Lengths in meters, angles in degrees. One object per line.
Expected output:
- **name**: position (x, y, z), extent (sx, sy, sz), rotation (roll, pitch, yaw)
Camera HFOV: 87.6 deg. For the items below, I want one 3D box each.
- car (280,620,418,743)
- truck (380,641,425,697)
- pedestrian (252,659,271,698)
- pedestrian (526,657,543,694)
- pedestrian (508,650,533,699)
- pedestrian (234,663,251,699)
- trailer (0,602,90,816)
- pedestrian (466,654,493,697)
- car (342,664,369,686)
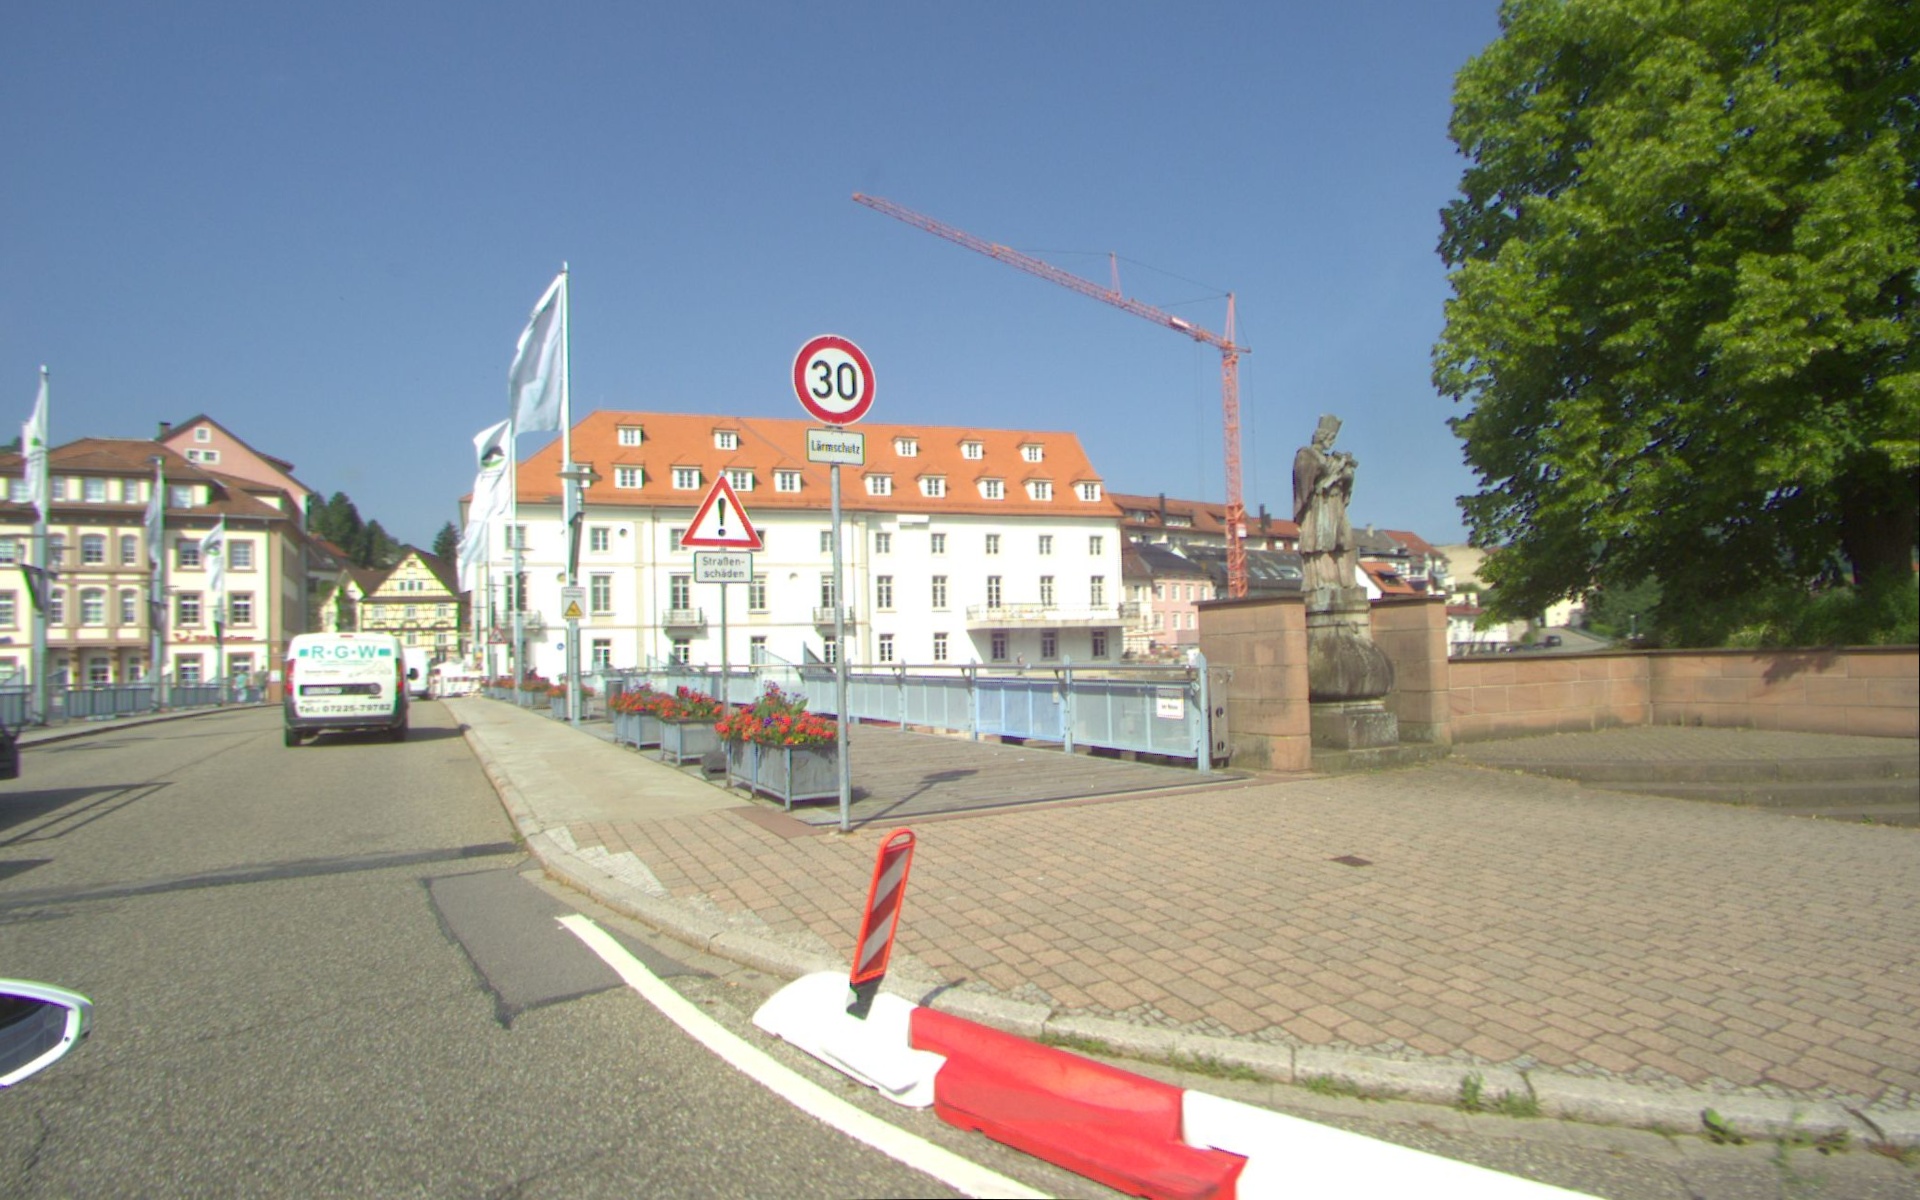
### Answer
- **car**: position (-10.920, 1.458, 18.166), extent (1.823, 1.929, 4.299), rotation (1, -4, -28)
- **truck**: position (-27.595, 3.424, 49.659), extent (1.840, 2.616, 4.243), rotation (1, -4, -29)
- **pedestrian**: position (-32.719, 3.673, 46.915), extent (0.608, 1.784, 0.860), rotation (1, -3, -29)
- **pedestrian**: position (-15.049, 2.672, 35.392), extent (0.447, 1.259, 0.623), rotation (0, -4, -34)
- **pedestrian**: position (-15.017, 2.529, 34.231), extent (0.660, 1.638, 0.559), rotation (1, -3, -36)
- **pedestrian**: position (-33.339, 3.746, 46.535), extent (0.577, 1.629, 0.535), rotation (1, -3, -30)
- **trailer**: position (-9.106, 0.893, 7.134), extent (2.575, 1.850, 5.626), rotation (0, -2, -21)
- **pedestrian**: position (-19.892, 3.114, 41.462), extent (0.717, 1.744, 0.744), rotation (-2, -3, 30)
- **car**: position (-51.710, 6.394, 85.703), extent (1.757, 1.814, 4.676), rotation (1, -4, -30)
